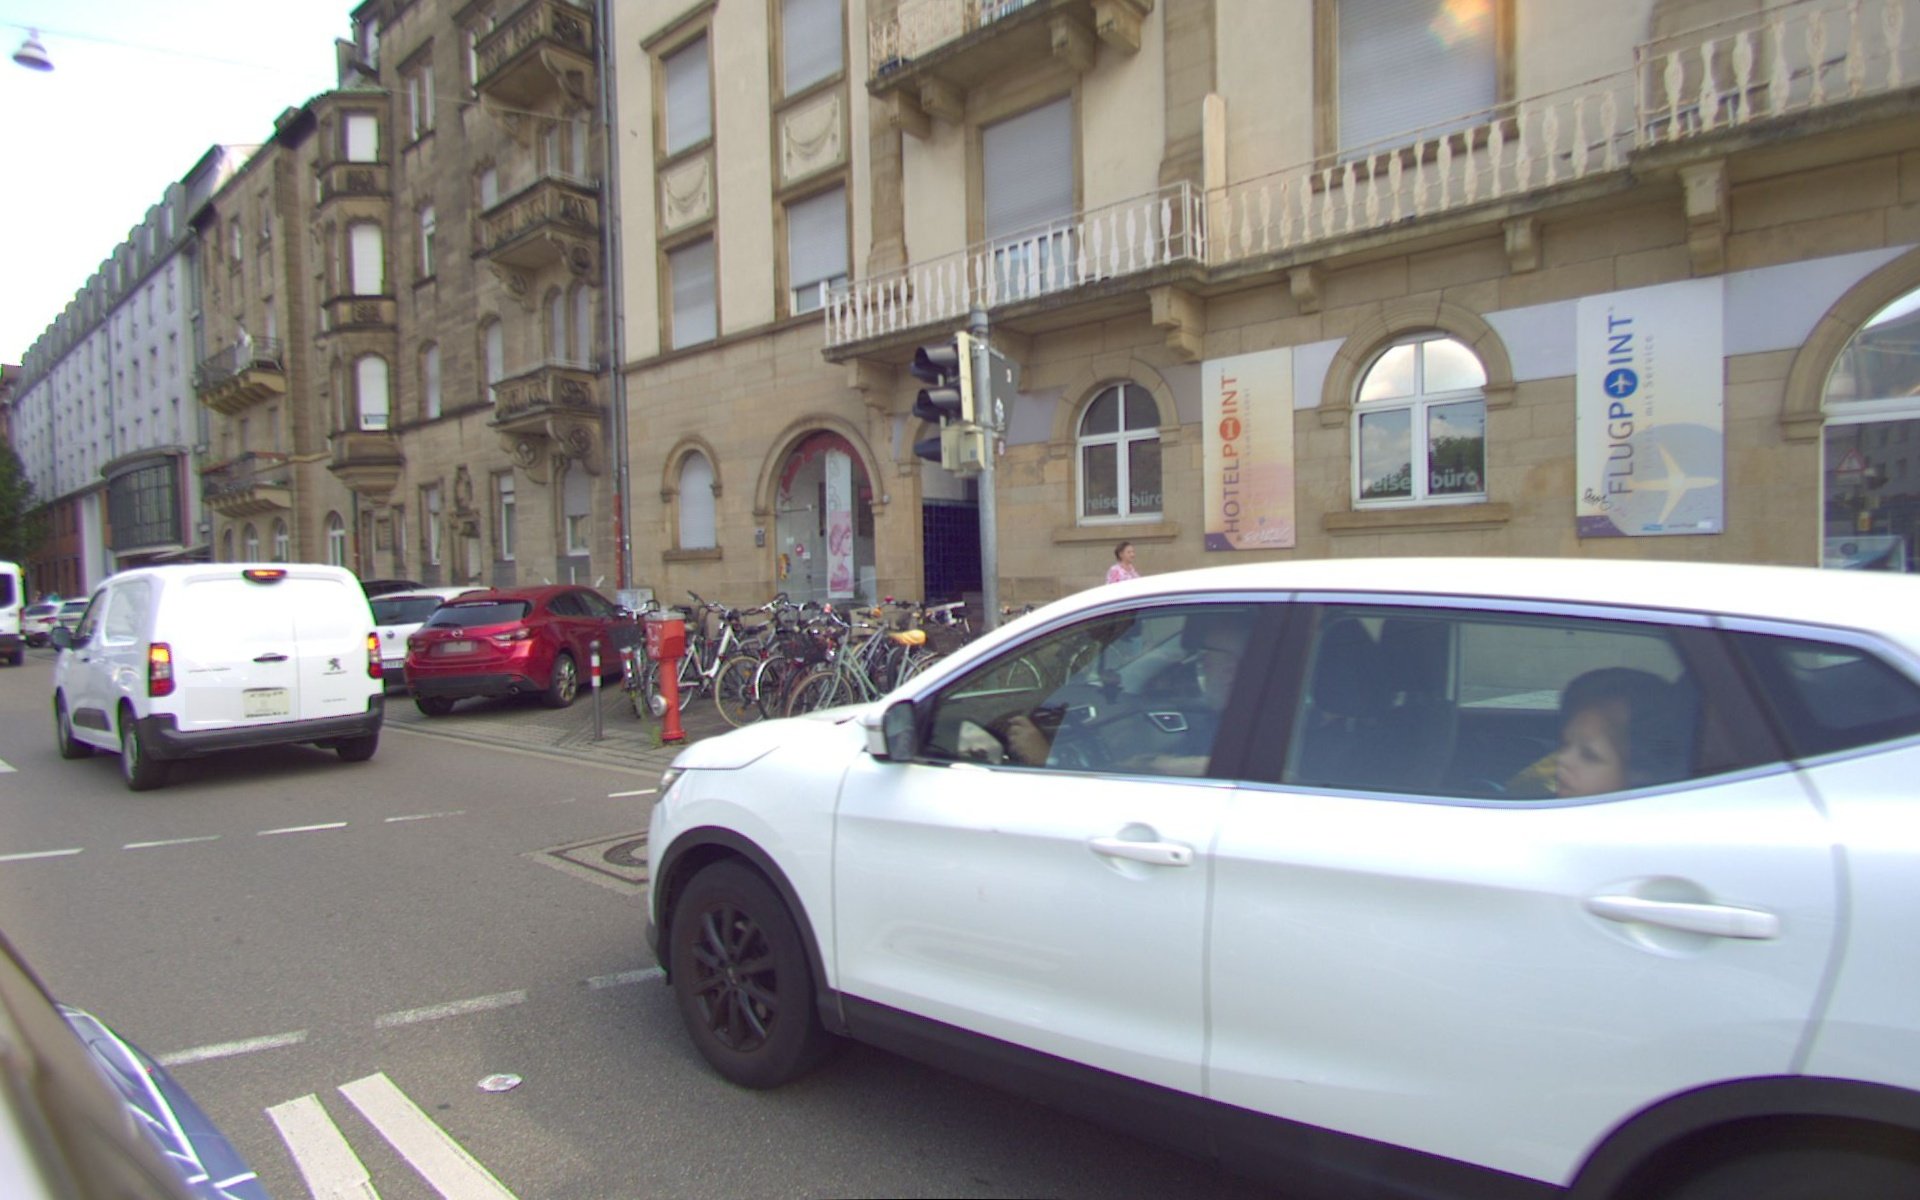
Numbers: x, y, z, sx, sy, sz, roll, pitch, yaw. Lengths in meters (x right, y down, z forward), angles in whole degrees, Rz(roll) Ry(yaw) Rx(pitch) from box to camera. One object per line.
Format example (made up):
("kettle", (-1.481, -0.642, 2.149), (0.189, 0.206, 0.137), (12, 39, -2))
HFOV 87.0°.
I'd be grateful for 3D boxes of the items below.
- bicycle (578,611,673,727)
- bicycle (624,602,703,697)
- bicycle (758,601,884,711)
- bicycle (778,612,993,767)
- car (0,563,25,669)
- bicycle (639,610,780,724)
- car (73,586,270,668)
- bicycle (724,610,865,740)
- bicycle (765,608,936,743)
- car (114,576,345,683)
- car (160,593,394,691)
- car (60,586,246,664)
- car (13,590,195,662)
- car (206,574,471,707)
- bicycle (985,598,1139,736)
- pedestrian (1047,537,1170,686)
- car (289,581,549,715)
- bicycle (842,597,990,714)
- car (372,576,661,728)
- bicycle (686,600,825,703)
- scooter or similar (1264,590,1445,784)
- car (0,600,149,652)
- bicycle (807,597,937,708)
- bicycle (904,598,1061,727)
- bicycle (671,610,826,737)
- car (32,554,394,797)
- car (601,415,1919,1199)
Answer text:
("bicycle", (-3.680, 0.717, 11.275), (0.549, 1.059, 1.815), (-3, 3, -5))
("bicycle", (-3.903, 0.608, 13.443), (0.549, 1.059, 1.907), (-3, 3, -4))
("bicycle", (-1.543, 0.597, 11.440), (0.462, 1.059, 1.466), (-1, 3, 38))
("bicycle", (-0.600, 0.699, 8.504), (1.708, 1.059, 0.532), (-5, 3, -33))
("car", (-24.790, 0.453, 24.792), (5.940, 2.463, 2.055), (-2, -1, 40))
("bicycle", (-2.685, 0.689, 10.976), (0.462, 1.059, 1.466), (-1, 2, 38))
("car", (-19.685, 0.601, 25.516), (1.708, 1.596, 3.954), (-3, 4, 1))
("bicycle", (-1.571, 0.683, 9.797), (0.417, 1.059, 1.356), (-1, 4, 39))
("bicycle", (-0.996, 0.660, 9.476), (1.558, 1.059, 0.481), (-5, 3, -42))
("car", (-15.393, 0.538, 21.625), (1.710, 1.881, 3.947), (-2, 3, 7))
("car", (-13.217, 0.735, 19.925), (1.708, 1.439, 3.952), (-4, 3, 3))
("car", (-21.722, 0.599, 27.464), (1.708, 1.596, 3.954), (-4, 4, 1))
("car", (-24.512, 0.680, 29.178), (1.708, 1.596, 3.954), (-4, 4, 1))
("car", (-10.024, 0.548, 16.752), (1.778, 1.701, 3.954), (-4, 3, 1))
("bicycle", (0.945, 0.564, 9.146), (1.421, 1.059, 0.481), (-5, 3, -40))
("pedestrian", (1.737, 0.111, 11.831), (0.996, 1.606, 0.932), (-1, 5, 42))
("car", (-7.878, 0.587, 15.222), (1.707, 1.467, 3.956), (-4, 4, 0))
("bicycle", (-0.438, 0.549, 10.701), (1.558, 1.059, 0.481), (-5, 3, -42))
("car", (-5.504, 0.536, 13.207), (1.788, 1.467, 3.998), (-3, 3, 3))
("bicycle", (-2.445, 0.584, 12.254), (0.557, 1.059, 1.611), (-1, 3, 39))
("scooter or similar", (2.724, 0.549, 6.955), (1.232, 1.154, 0.482), (-5, 3, -31))
("car", (-28.877, 0.811, 32.961), (1.708, 1.485, 3.953), (-2, 1, 1))
("bicycle", (-0.947, 0.547, 11.179), (0.462, 1.059, 1.464), (-1, 3, 41))
("bicycle", (0.250, 0.570, 9.896), (1.589, 1.059, 0.481), (-5, 3, -42))
("bicycle", (-2.062, 0.688, 10.010), (0.462, 1.059, 1.464), (-1, 3, 41))
("car", (-7.164, 0.590, 9.537), (4.280, 1.789, 1.794), (-2, 0, 40))
("car", (0.931, 0.567, 2.731), (4.016, 1.594, 1.753), (-1, 0, 39))
